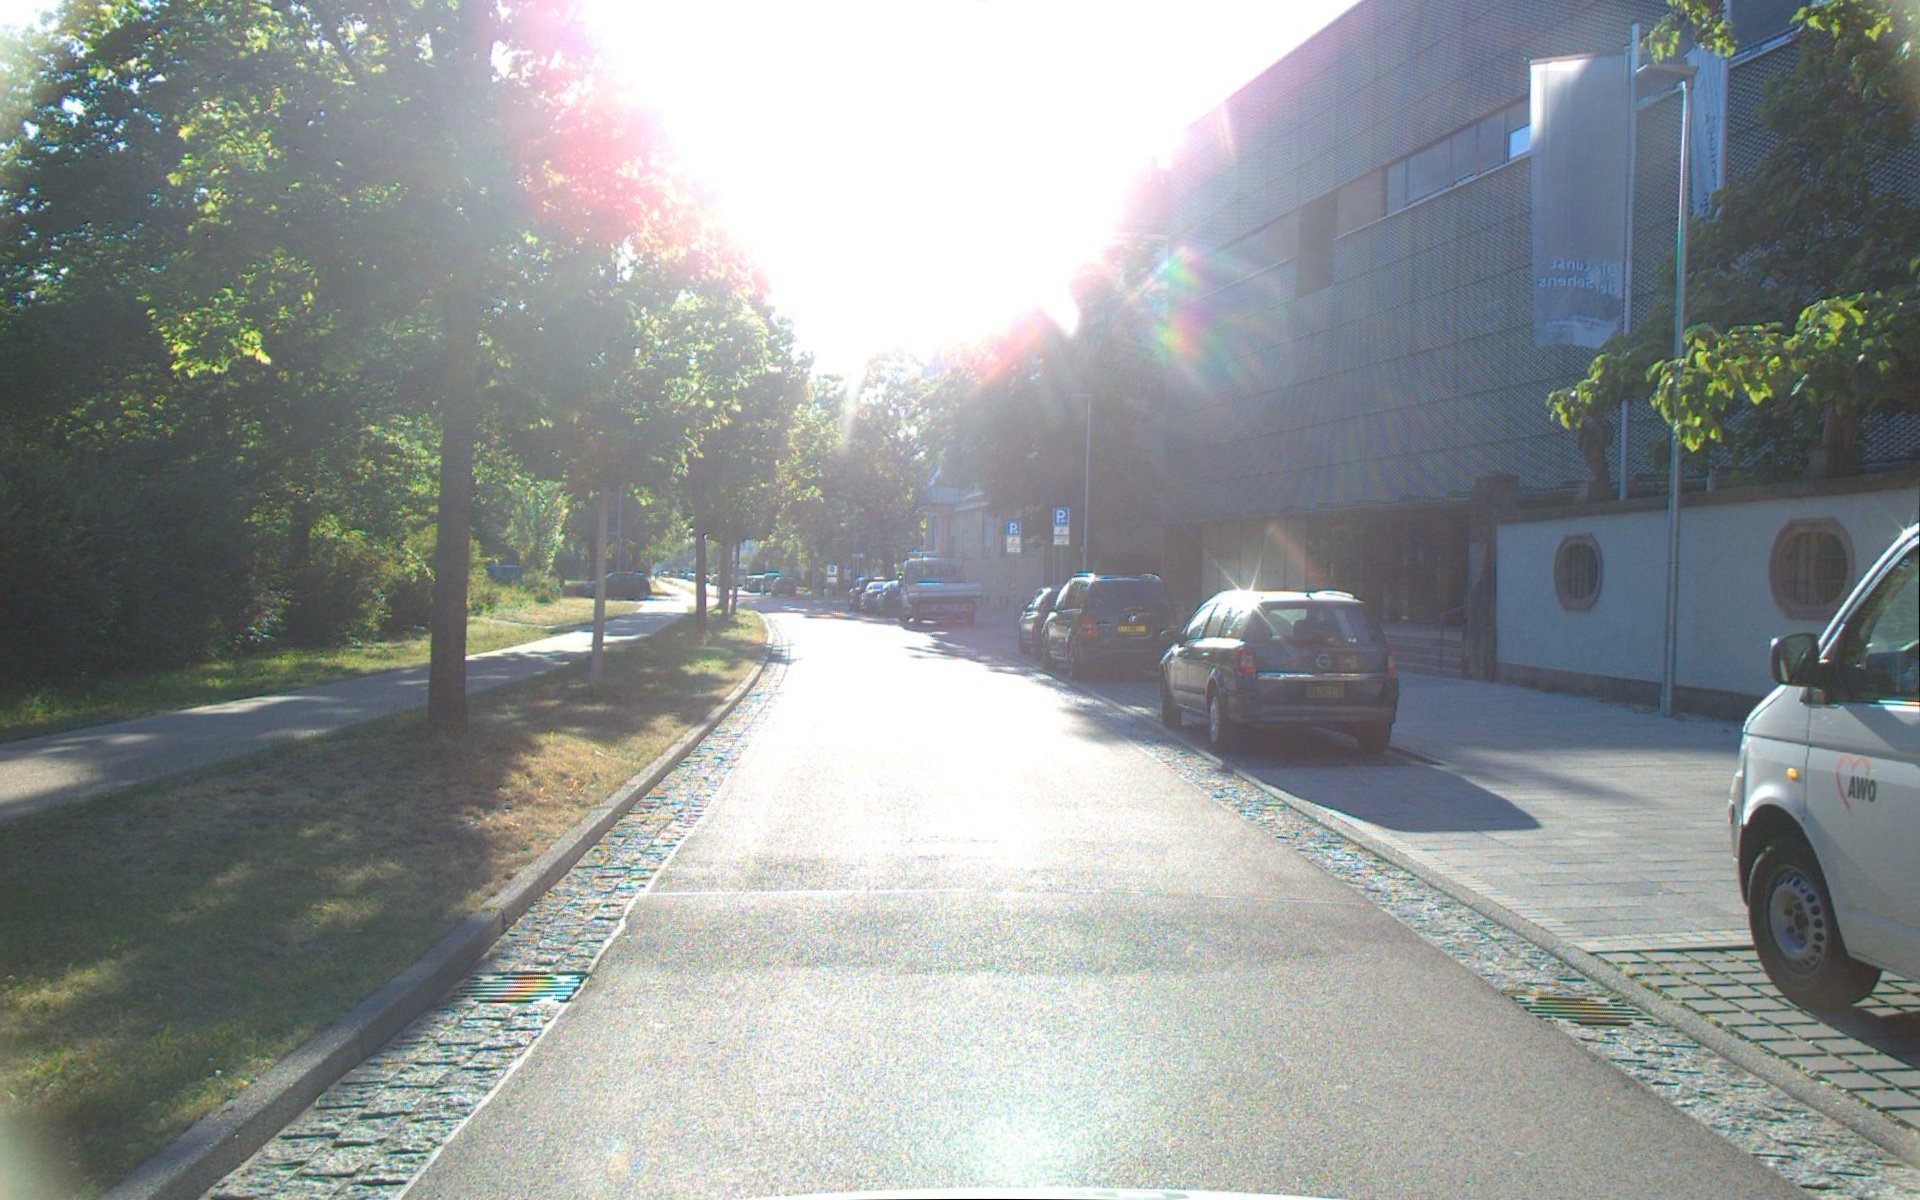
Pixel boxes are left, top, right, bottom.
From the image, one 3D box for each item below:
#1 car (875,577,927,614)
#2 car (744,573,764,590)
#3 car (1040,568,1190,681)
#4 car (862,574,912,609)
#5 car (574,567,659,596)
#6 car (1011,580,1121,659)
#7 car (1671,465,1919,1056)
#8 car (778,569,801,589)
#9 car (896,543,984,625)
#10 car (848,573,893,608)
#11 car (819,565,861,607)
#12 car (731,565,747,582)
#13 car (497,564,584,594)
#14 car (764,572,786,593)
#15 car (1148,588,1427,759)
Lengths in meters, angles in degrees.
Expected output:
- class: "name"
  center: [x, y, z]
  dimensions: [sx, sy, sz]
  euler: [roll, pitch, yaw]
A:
- class: "car"
  center: [-2.409, -0.203, 67.256]
  dimensions: [1.660, 1.465, 3.542]
  euler: [0, 1, -10]
- class: "car"
  center: [-19.831, -1.812, 159.187]
  dimensions: [1.760, 1.536, 3.993]
  euler: [1, 1, -8]
- class: "car"
  center: [2.488, 0.336, 27.416]
  dimensions: [1.691, 1.698, 4.109]
  euler: [-1, 1, -6]
- class: "car"
  center: [-3.237, -0.407, 72.712]
  dimensions: [1.660, 1.465, 4.095]
  euler: [0, 1, -10]
- class: "car"
  center: [-17.804, -0.939, 85.698]
  dimensions: [3.955, 1.445, 1.749]
  euler: [0, 1, -36]
- class: "car"
  center: [2.076, 0.344, 33.356]
  dimensions: [1.690, 1.446, 3.903]
  euler: [0, 1, -4]
- class: "car"
  center: [4.188, 0.514, 4.989]
  dimensions: [1.953, 2.000, 4.850]
  euler: [-3, 1, 0]
- class: "car"
  center: [-13.442, -1.659, 130.323]
  dimensions: [1.759, 1.536, 3.996]
  euler: [1, 1, -6]
- class: "car"
  center: [-0.747, -0.570, 56.255]
  dimensions: [2.170, 2.574, 6.137]
  euler: [-1, 1, -8]
- class: "car"
  center: [-4.250, -0.487, 78.152]
  dimensions: [1.660, 1.592, 4.095]
  euler: [0, 1, -10]
- class: "car"
  center: [-6.229, -0.739, 85.497]
  dimensions: [1.789, 2.049, 3.596]
  euler: [1, 1, -11]
- class: "car"
  center: [-26.149, -3.155, 195.504]
  dimensions: [1.760, 2.034, 3.993]
  euler: [1, 1, -8]
- class: "car"
  center: [-21.069, -1.060, 83.081]
  dimensions: [3.875, 1.445, 1.752]
  euler: [1, 1, -33]
- class: "car"
  center: [-16.107, -1.556, 144.020]
  dimensions: [1.760, 1.754, 3.993]
  euler: [1, 1, -8]
- class: "car"
  center: [3.189, 0.641, 17.048]
  dimensions: [1.713, 1.492, 4.474]
  euler: [0, 1, -4]
